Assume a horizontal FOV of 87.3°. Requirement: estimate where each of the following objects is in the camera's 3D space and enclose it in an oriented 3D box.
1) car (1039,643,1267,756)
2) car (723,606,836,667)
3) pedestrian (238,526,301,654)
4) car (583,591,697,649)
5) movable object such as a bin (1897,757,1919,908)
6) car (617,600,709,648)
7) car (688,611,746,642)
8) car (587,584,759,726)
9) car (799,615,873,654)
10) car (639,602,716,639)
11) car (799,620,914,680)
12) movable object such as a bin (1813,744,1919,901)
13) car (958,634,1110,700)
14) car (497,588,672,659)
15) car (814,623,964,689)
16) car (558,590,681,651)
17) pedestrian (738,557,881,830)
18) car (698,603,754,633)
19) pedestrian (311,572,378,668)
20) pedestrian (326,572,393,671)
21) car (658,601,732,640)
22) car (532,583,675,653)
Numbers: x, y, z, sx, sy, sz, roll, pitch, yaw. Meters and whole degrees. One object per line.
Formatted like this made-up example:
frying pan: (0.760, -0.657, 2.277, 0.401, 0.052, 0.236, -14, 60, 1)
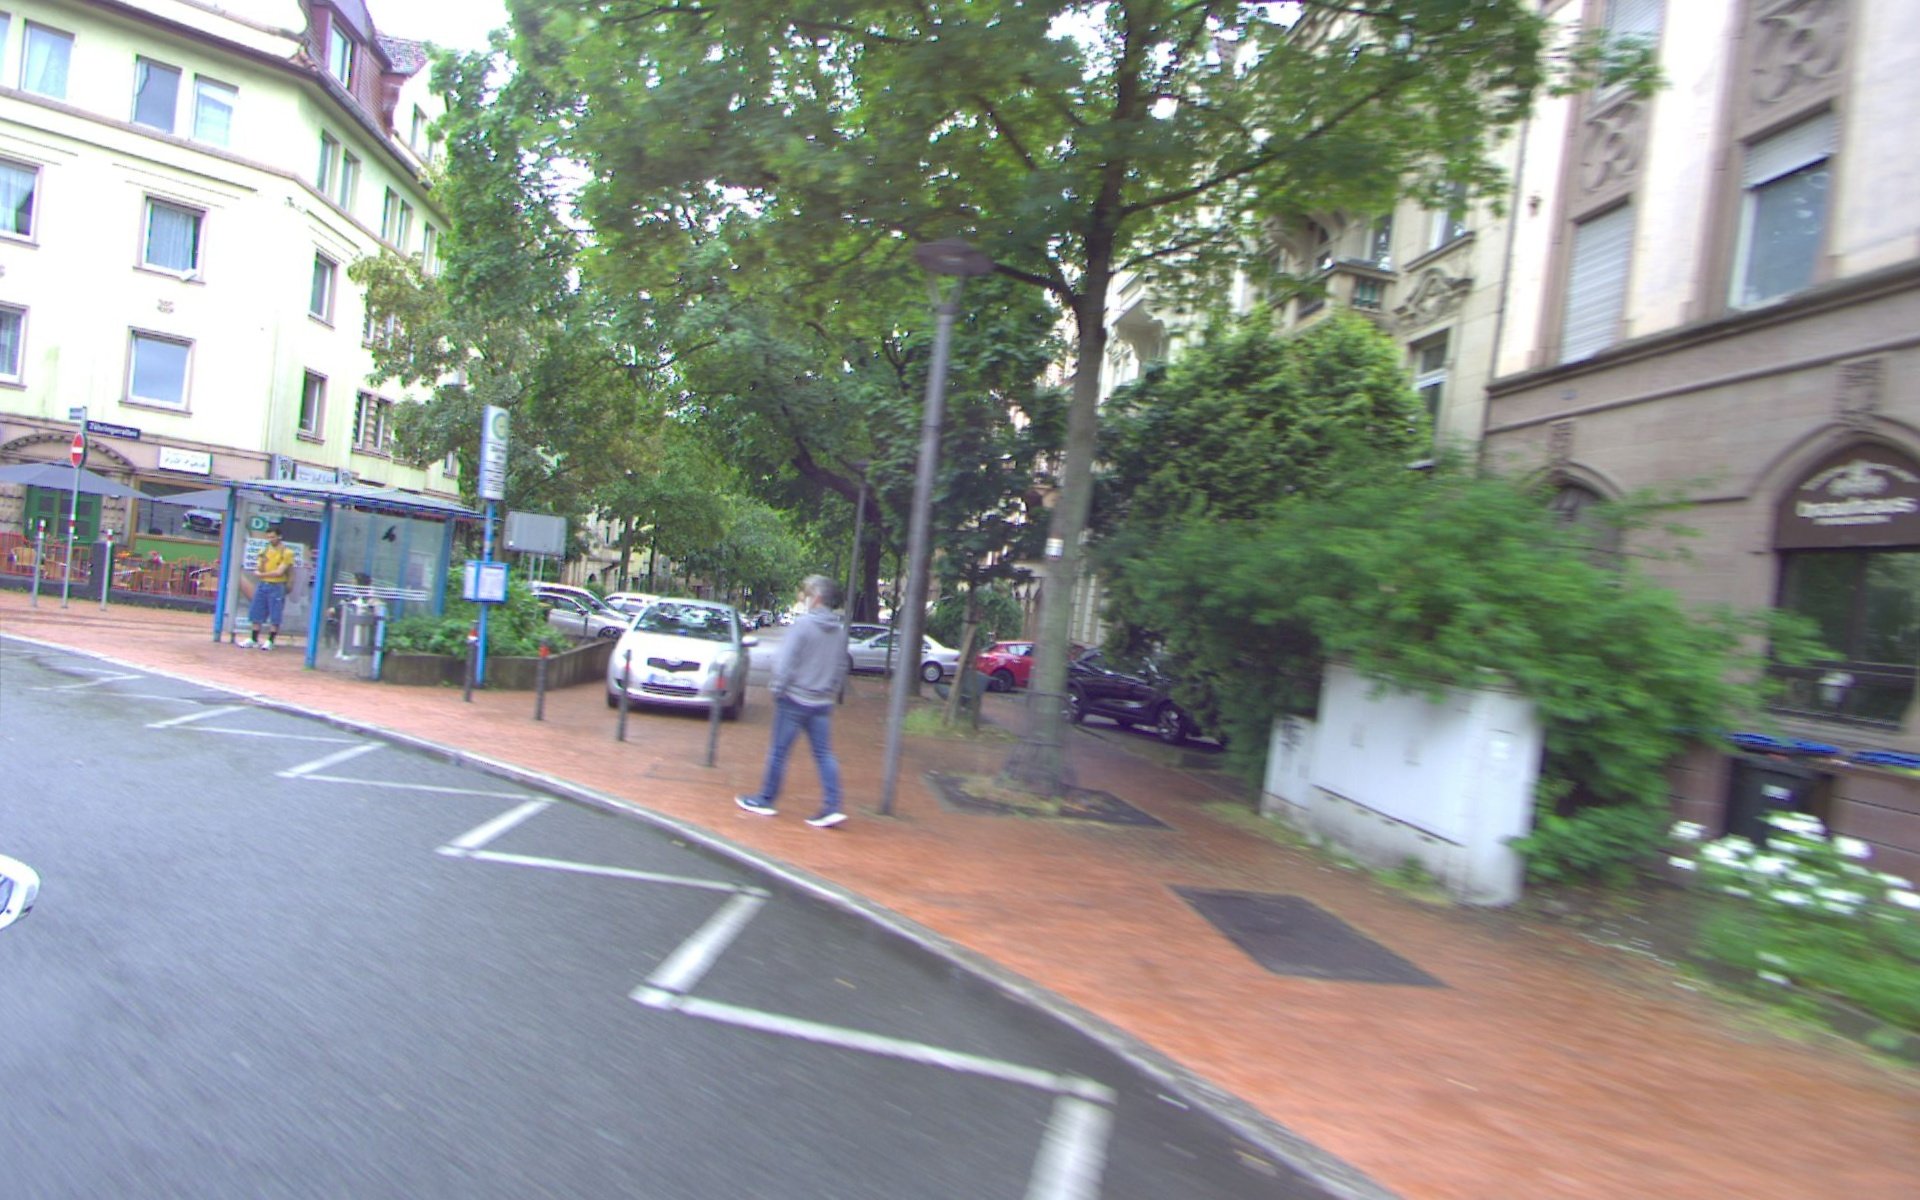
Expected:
car: (3.433, 1.773, 18.467, 1.757, 1.493, 3.813, 8, -2, -37)
car: (-6.440, 1.307, 36.171, 3.718, 1.686, 1.678, 7, -1, -5)
pedestrian: (-10.167, -0.143, 14.827, 0.554, 1.796, 0.541, 7, -1, -31)
car: (-12.681, 0.809, 40.093, 3.932, 1.810, 1.791, 7, -1, -8)
movable object such as a bin: (7.252, 1.718, 7.158, 0.528, 1.069, 0.574, 7, -1, -11)
car: (-14.074, 1.132, 47.882, 3.831, 1.768, 1.791, 7, -1, -8)
car: (-17.777, 1.958, 73.688, 3.831, 1.768, 1.791, 7, -1, -8)
car: (-3.871, 0.746, 14.172, 1.741, 1.519, 3.672, 8, -3, -9)
car: (-6.392, 1.772, 51.710, 3.589, 1.554, 1.680, 7, -1, -8)
car: (-15.775, 1.155, 56.316, 3.831, 1.607, 1.731, 7, -1, -8)
car: (-3.345, 1.598, 32.352, 3.441, 1.482, 1.589, 7, -1, -8)
movable object such as a bin: (7.154, 1.711, 7.764, 0.523, 1.069, 0.593, 7, -1, -11)
car: (2.065, 1.874, 28.648, 3.929, 1.547, 1.875, 4, -1, -8)
car: (-11.285, 0.712, 30.533, 4.569, 1.546, 1.791, 7, -1, -8)
car: (-2.160, 1.669, 30.099, 4.260, 1.412, 1.706, 7, -1, -8)
car: (-12.638, 0.755, 37.581, 3.932, 1.747, 1.791, 7, -1, -8)
pedestrian: (-1.034, 0.636, 7.053, 0.562, 1.754, 0.732, 6, -1, 13)
car: (-17.775, 1.351, 76.534, 3.831, 1.768, 1.791, 7, -1, -8)
pedestrian: (-8.902, 0.286, 14.554, 0.611, 1.295, 0.568, 6, -1, 44)
pedestrian: (-8.442, 0.304, 14.146, 0.527, 1.295, 0.568, 6, -1, 43)
car: (-15.499, 1.191, 59.006, 3.831, 1.768, 1.791, 7, -1, -8)
car: (-11.544, 0.591, 32.810, 3.932, 1.747, 1.791, 7, -1, -8)
